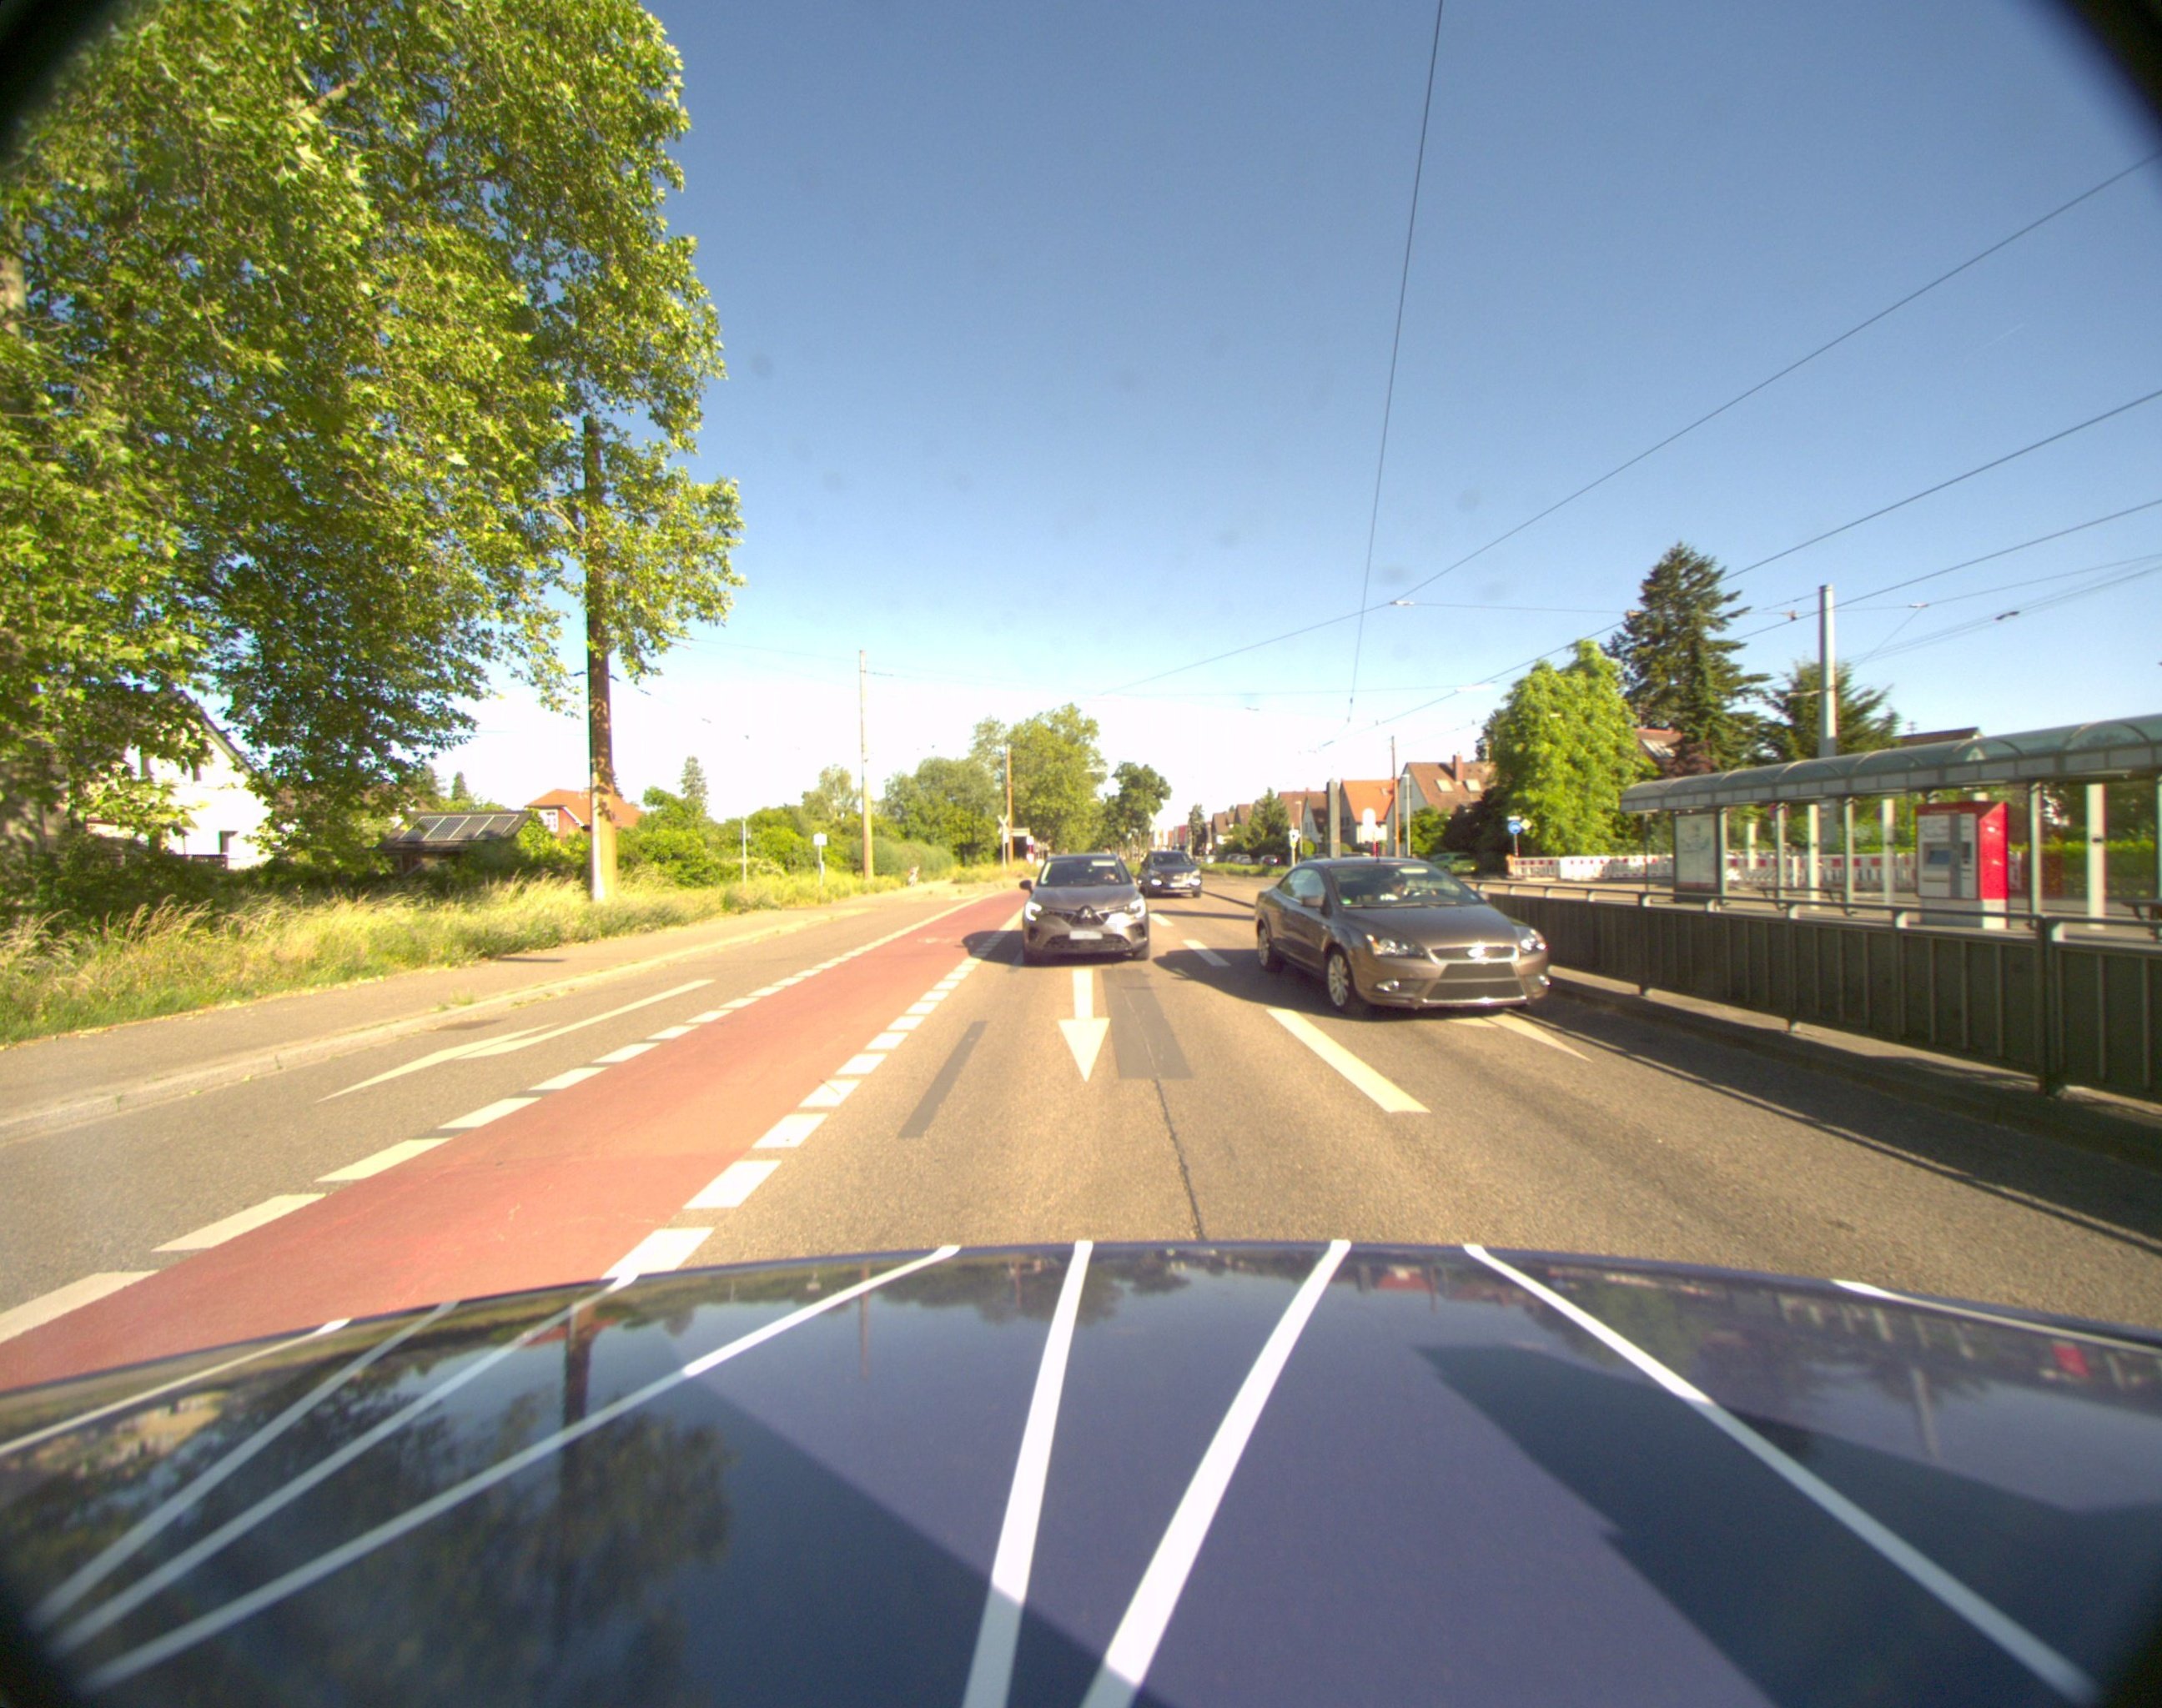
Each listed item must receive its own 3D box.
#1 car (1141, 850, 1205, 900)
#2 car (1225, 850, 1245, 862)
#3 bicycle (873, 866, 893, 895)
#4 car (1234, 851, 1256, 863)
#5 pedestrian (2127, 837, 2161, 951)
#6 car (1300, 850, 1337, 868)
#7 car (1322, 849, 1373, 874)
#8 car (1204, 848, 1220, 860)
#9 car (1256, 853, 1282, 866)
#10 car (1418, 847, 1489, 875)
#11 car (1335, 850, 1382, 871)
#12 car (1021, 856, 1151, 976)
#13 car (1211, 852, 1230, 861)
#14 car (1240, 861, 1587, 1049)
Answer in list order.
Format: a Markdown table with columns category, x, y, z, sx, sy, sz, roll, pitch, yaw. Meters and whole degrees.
| category | x | y | z | sx | sy | sz | roll | pitch | yaw |
| --- | --- | --- | --- | --- | --- | --- | --- | --- | --- |
| car | 3.217 | 0.711 | 27.275 | 1.780 | 1.620 | 4.288 | -1 | 0 | 0 |
| car | 21.799 | 0.335 | 107.414 | 1.888 | 1.552 | 4.537 | -3 | 0 | 0 |
| bicycle | -8.128 | 1.076 | 31.123 | 0.367 | 1.128 | 2.091 | -1 | 0 | -26 |
| car | 22.059 | 0.403 | 102.361 | 1.888 | 1.463 | 4.838 | -3 | 0 | 1 |
| pedestrian | 14.231 | 0.521 | 9.427 | 1.063 | 1.444 | 1.007 | 1 | 1 | 0 |
| car | 21.619 | 0.447 | 69.384 | 1.912 | 1.457 | 4.440 | -3 | 1 | 0 |
| car | 16.928 | 0.477 | 48.429 | 1.740 | 1.511 | 4.344 | -1 | 0 | 0 |
| car | 22.068 | -0.014 | 127.964 | 1.998 | 1.852 | 4.584 | -2 | 0 | 1 |
| car | 21.860 | 0.595 | 88.274 | 1.998 | 1.363 | 4.310 | -2 | 0 | 1 |
| car | 21.881 | 0.400 | 44.828 | 1.999 | 1.492 | 4.067 | -3 | 1 | -2 |
| car | 21.724 | 0.488 | 59.599 | 1.888 | 1.464 | 4.613 | -3 | 1 | -1 |
| car | 0.055 | 0.818 | 11.801 | 1.673 | 1.529 | 3.586 | -2 | 0 | -1 |
| car | 21.787 | 0.403 | 118.677 | 1.998 | 1.333 | 4.982 | -3 | 1 | 0 |
| car | 3.138 | 0.832 | 8.275 | 1.780 | 1.441 | 4.333 | -1 | 0 | -1 |
